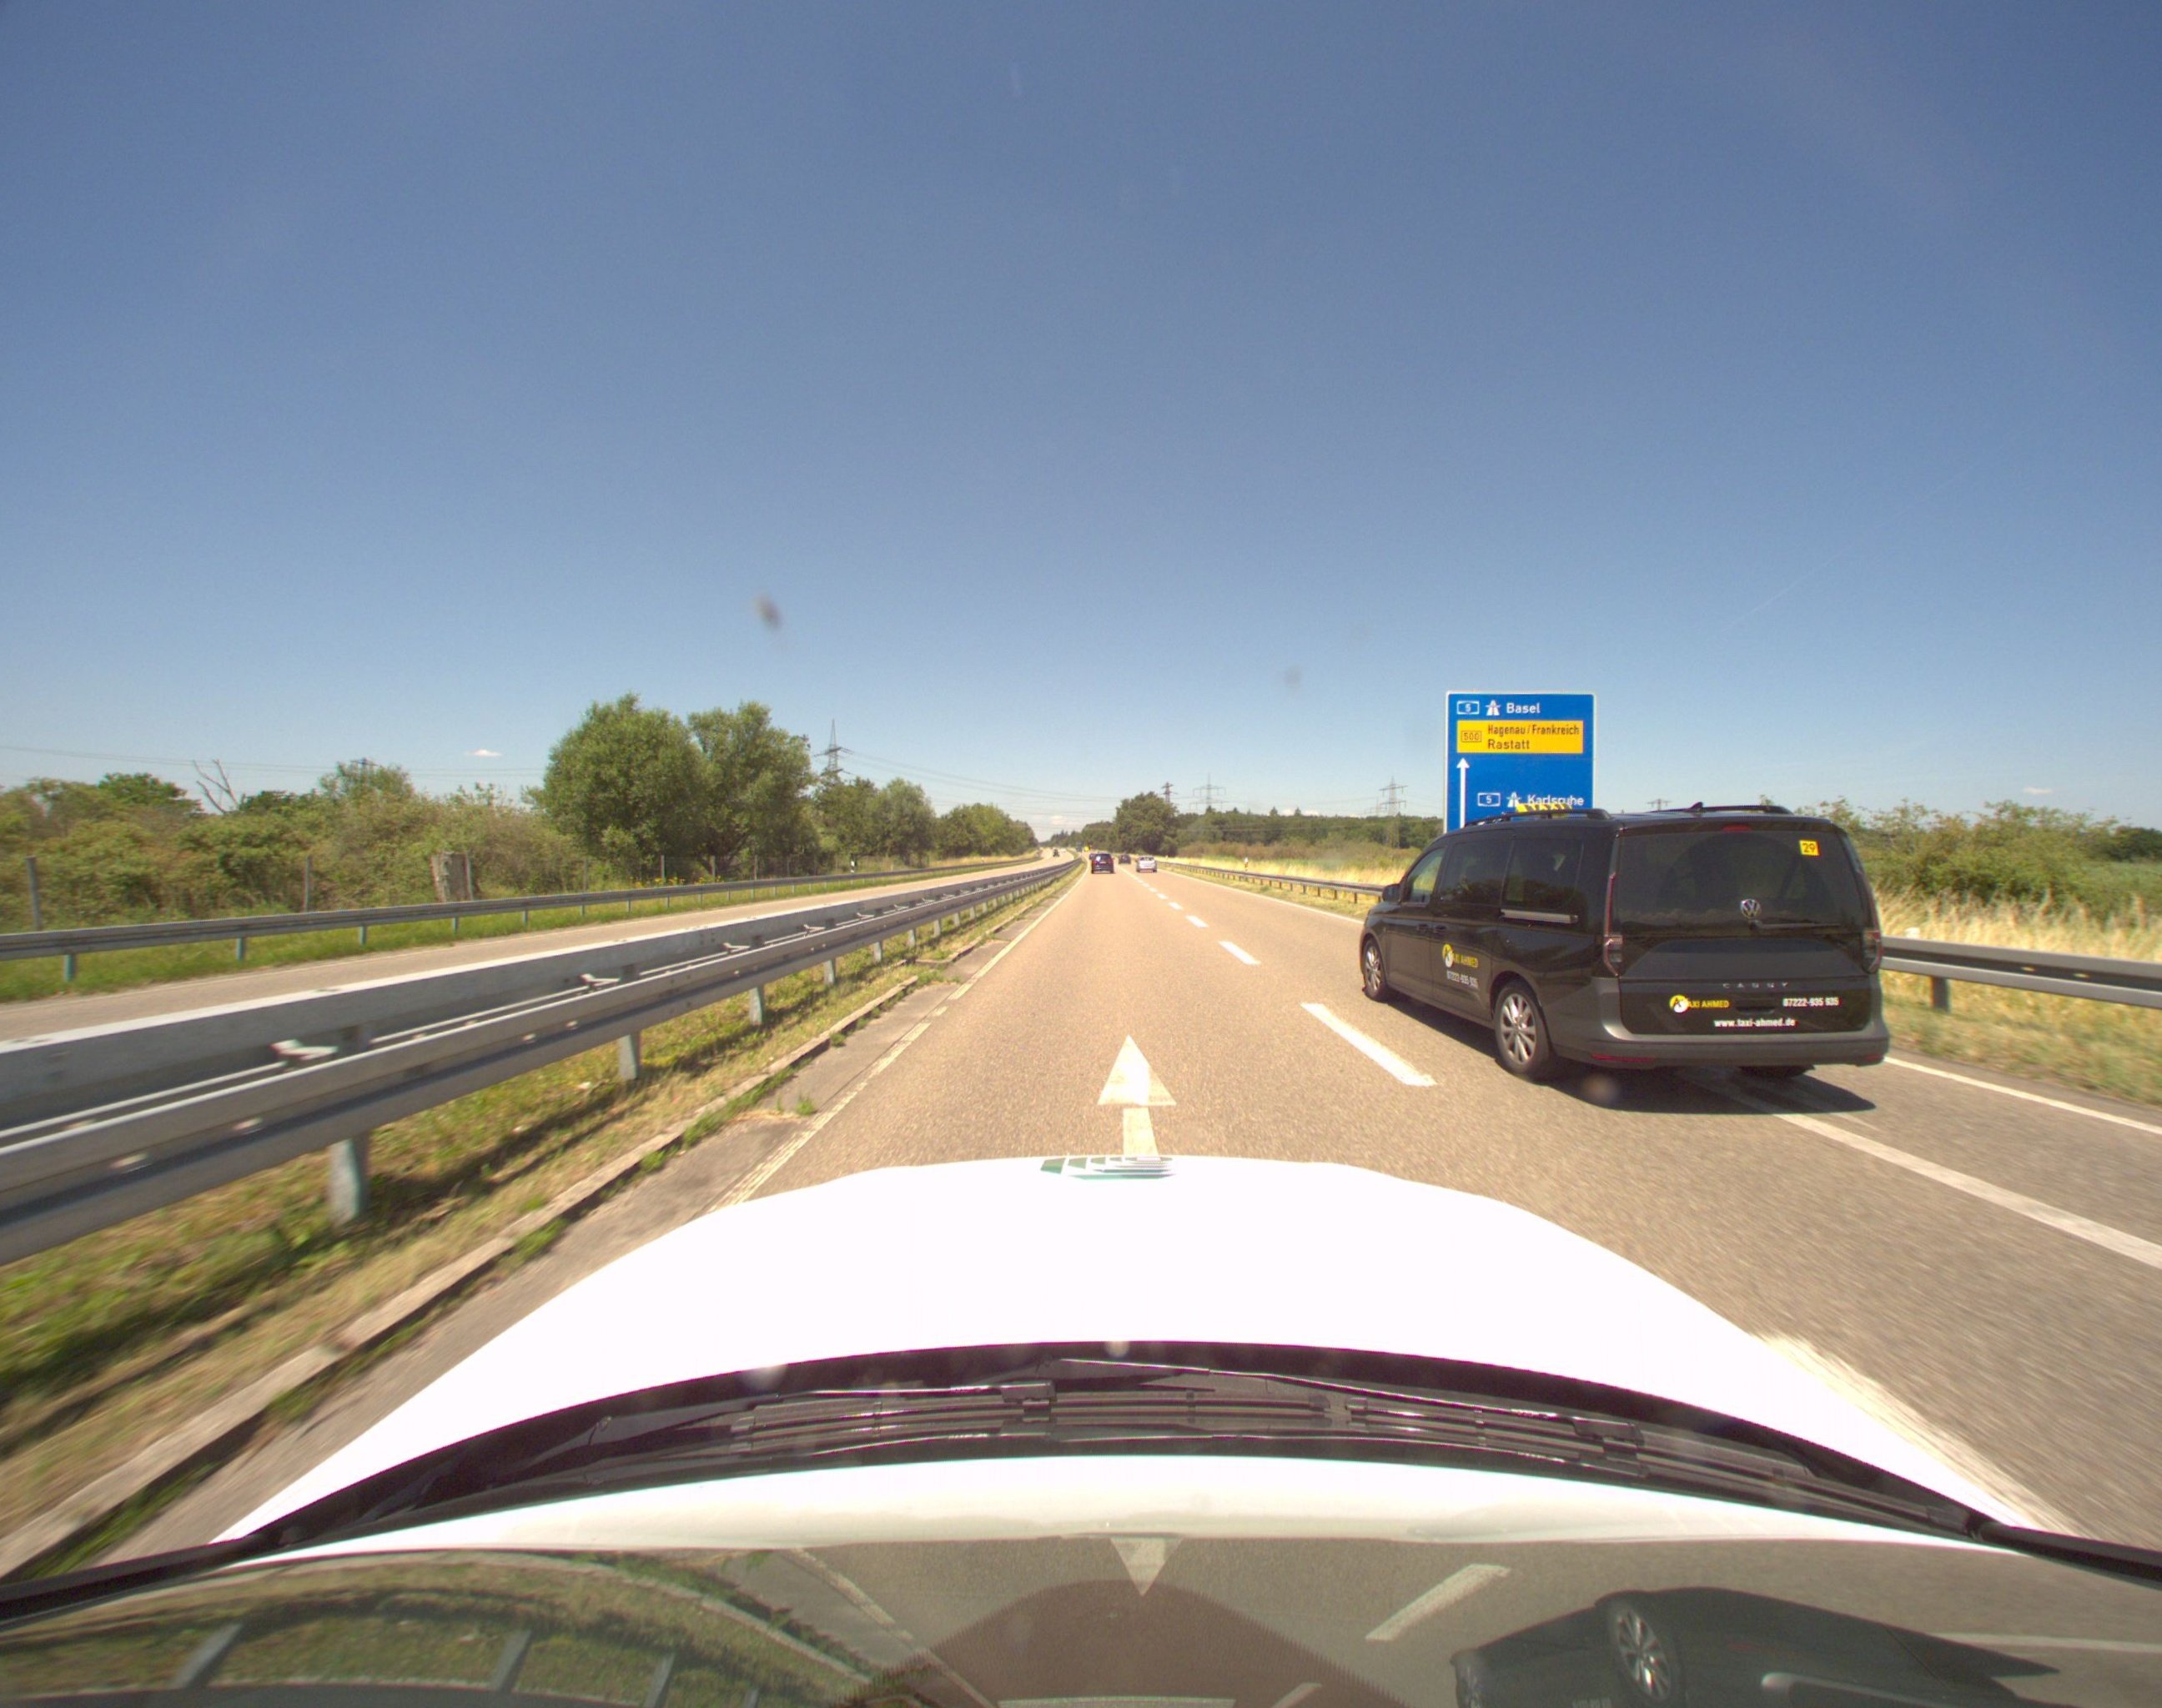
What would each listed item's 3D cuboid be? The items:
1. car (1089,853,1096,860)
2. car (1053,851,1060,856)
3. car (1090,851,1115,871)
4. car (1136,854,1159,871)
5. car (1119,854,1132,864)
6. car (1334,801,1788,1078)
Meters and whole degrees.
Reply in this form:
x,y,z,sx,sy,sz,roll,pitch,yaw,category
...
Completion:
x,y,z,sx,sy,sz,roll,pitch,yaw,category
2.555,0.539,187.543,1.510,1.475,3.065,1,0,0,car
-7.595,-0.038,248.294,1.824,1.475,3.686,2,0,2,car
1.819,0.574,68.820,1.986,1.654,4.002,1,0,2,car
5.813,0.710,71.872,1.772,1.479,4.317,1,0,2,car
6.555,0.776,120.790,1.812,1.414,4.003,1,0,3,car
3.814,0.568,7.472,1.773,1.817,4.214,0,0,2,car
